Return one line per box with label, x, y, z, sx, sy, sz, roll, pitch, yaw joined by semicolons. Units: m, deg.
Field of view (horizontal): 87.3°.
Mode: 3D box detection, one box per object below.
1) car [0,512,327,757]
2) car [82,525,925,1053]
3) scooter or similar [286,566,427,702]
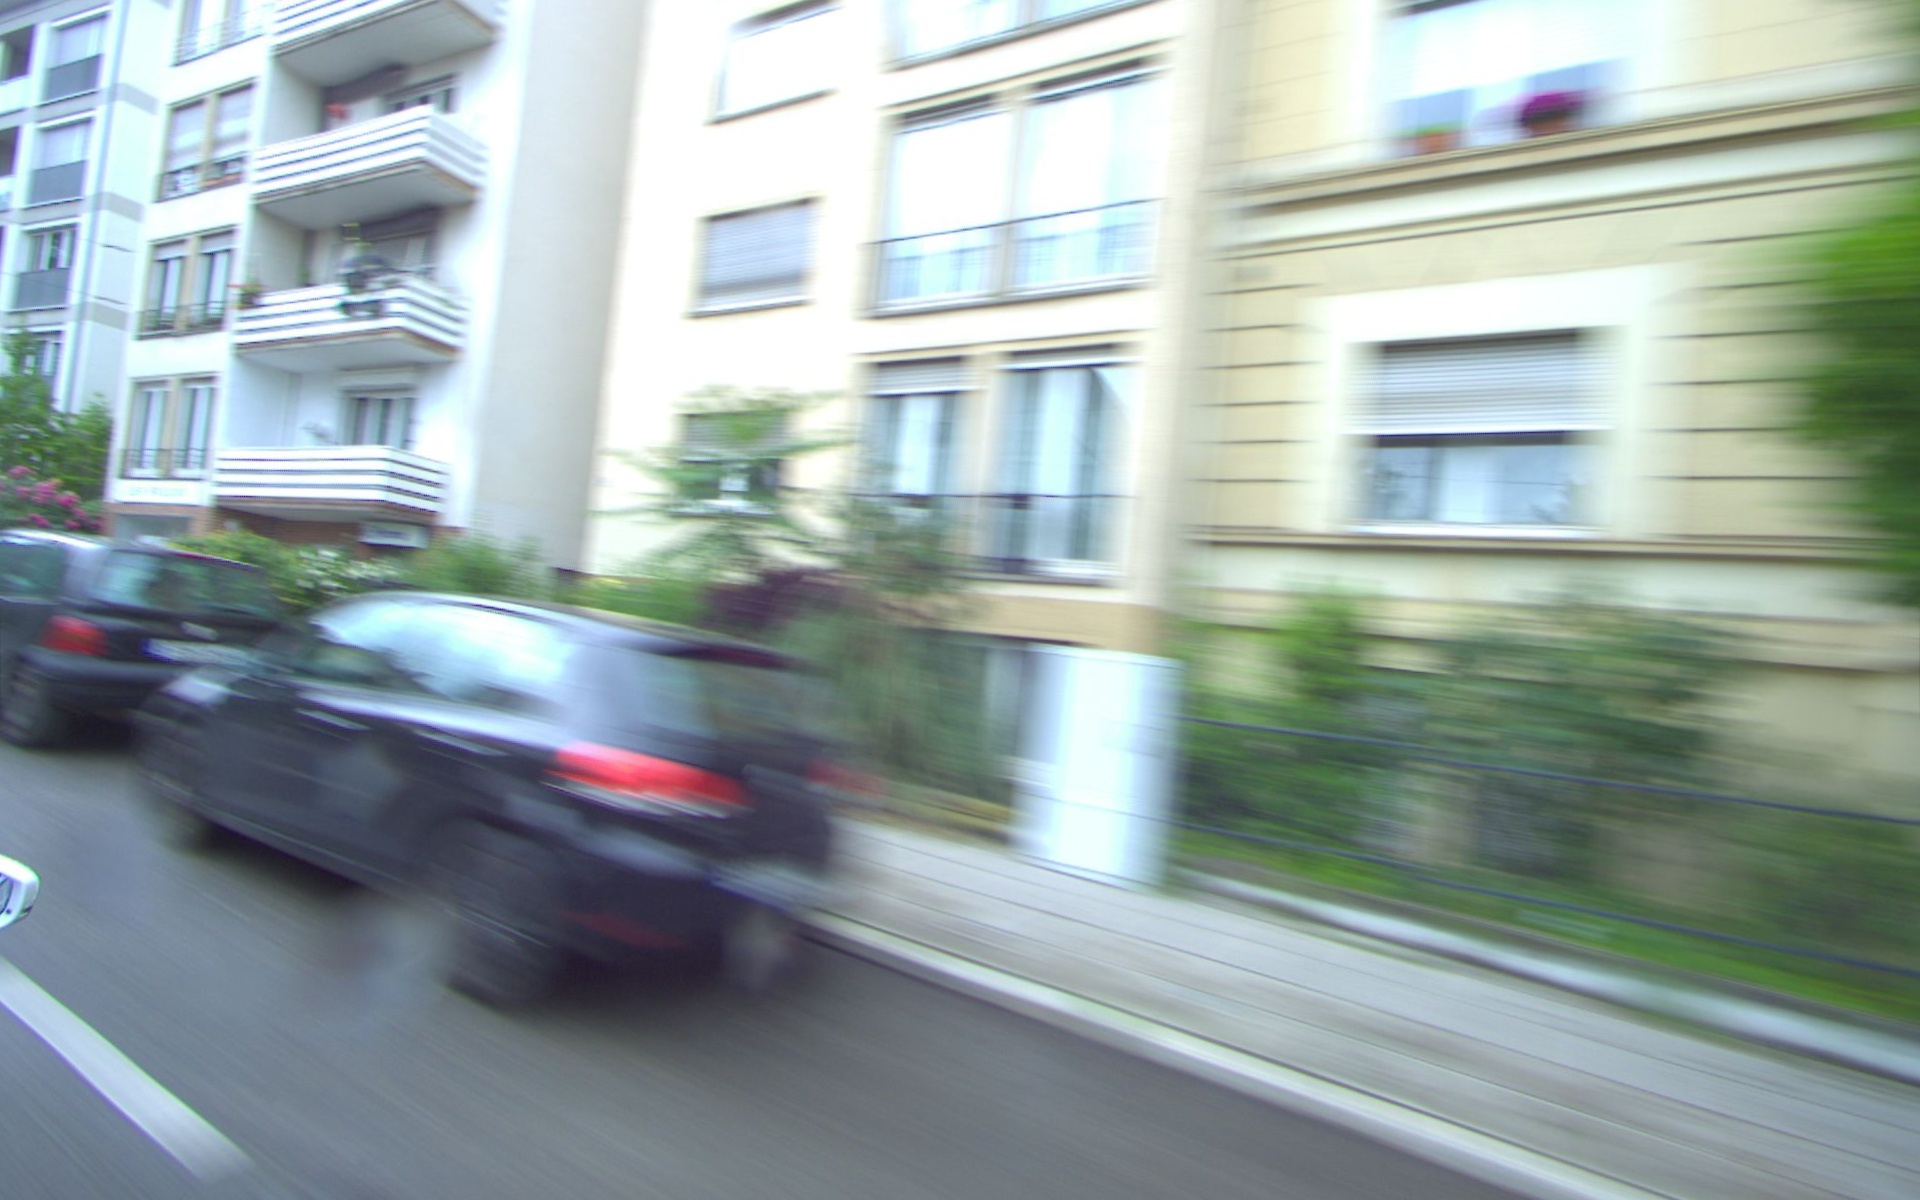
car;-7.103;0.119;7.947;4.229;1.452;1.561;7;-3;29
car;-2.385;0.633;4.999;3.996;1.452;1.688;7;-3;31
scooter or similar;-6.380;0.350;10.646;1.176;1.250;0.470;8;1;14
